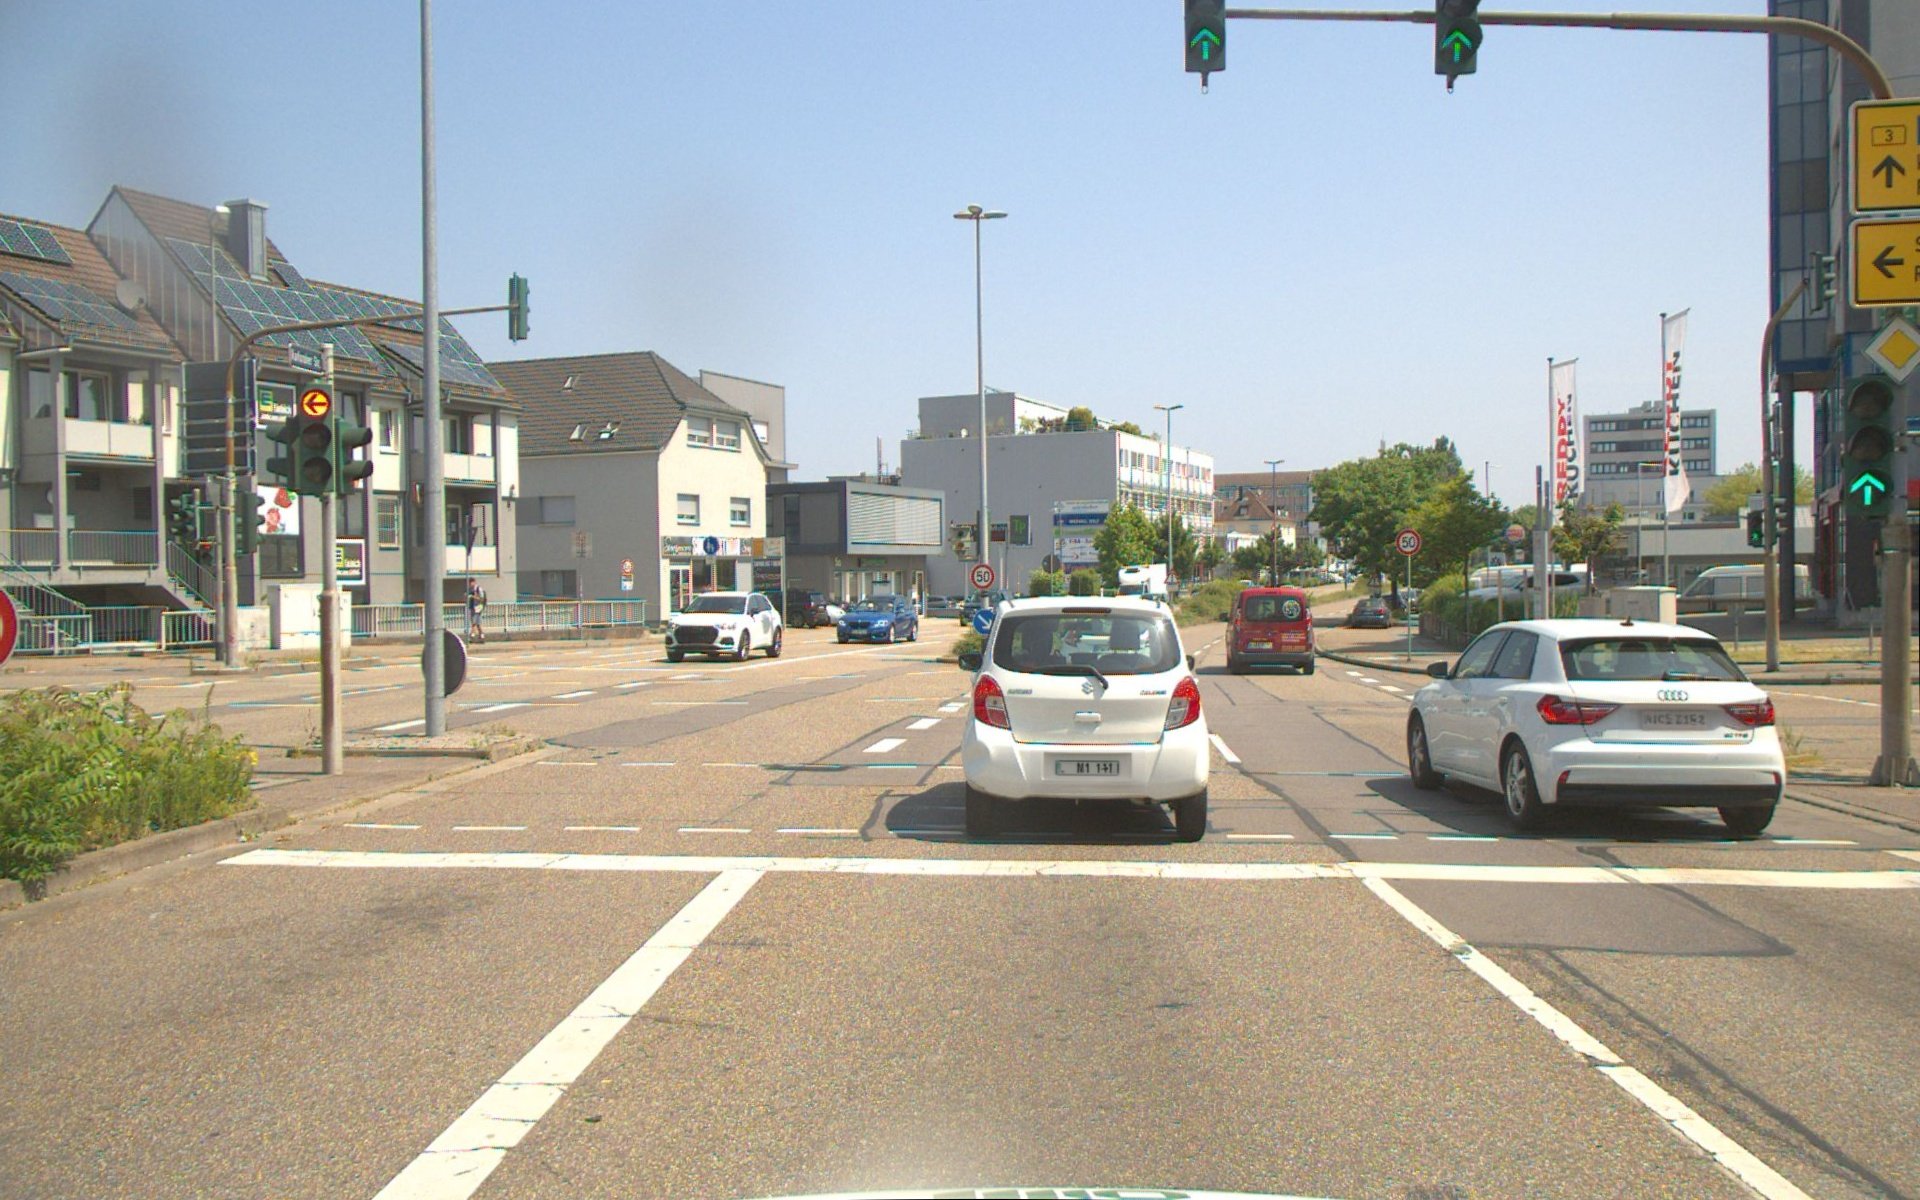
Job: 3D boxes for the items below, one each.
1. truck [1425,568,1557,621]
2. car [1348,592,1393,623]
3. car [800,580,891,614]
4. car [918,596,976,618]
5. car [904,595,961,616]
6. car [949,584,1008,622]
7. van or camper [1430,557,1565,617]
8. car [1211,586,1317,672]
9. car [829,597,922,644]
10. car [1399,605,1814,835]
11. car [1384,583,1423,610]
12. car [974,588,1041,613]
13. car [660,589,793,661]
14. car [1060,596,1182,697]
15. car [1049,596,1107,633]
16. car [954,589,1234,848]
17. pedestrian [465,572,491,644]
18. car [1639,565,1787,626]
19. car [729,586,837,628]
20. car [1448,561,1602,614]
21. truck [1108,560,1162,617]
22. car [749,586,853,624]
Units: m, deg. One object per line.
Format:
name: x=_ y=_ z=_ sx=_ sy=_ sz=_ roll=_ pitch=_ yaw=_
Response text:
truck: x=26.830 y=-0.279 z=83.605 sx=6.118 sy=2.377 sz=2.368 roll=-2 pitch=1 yaw=22
car: x=20.225 y=0.357 z=81.408 sx=1.760 sy=1.430 sz=4.322 roll=1 pitch=1 yaw=19
car: x=-5.594 y=-0.134 z=80.979 sx=3.971 sy=1.548 sz=2.001 roll=-1 pitch=0 yaw=18
car: x=-0.998 y=0.553 z=127.578 sx=3.891 sy=1.493 sz=2.074 roll=-3 pitch=0 yaw=19
car: x=-2.068 y=0.417 z=124.389 sx=3.887 sy=1.493 sz=1.965 roll=-1 pitch=1 yaw=16
car: x=0.906 y=0.121 z=78.257 sx=1.951 sy=1.685 sz=4.598 roll=-1 pitch=1 yaw=11
van or camper: x=28.544 y=-0.684 z=87.813 sx=6.656 sy=2.948 sz=2.276 roll=-1 pitch=1 yaw=21
car: x=6.558 y=0.591 z=36.027 sx=1.757 sy=1.759 sz=3.974 roll=0 pitch=0 yaw=3
car: x=-2.630 y=0.619 z=52.452 sx=1.823 sy=1.390 sz=4.350 roll=1 pitch=0 yaw=13
car: x=4.585 y=0.765 z=12.332 sx=1.633 sy=1.423 sz=3.793 roll=0 pitch=0 yaw=0
car: x=29.314 y=-0.222 z=109.239 sx=1.920 sy=1.556 sz=5.162 roll=-3 pitch=0 yaw=21
car: x=3.063 y=0.039 z=106.924 sx=3.916 sy=1.395 sz=1.669 roll=-3 pitch=1 yaw=24
car: x=-5.520 y=0.553 z=39.676 sx=1.778 sy=1.597 sz=4.560 roll=1 pitch=0 yaw=10
car: x=2.593 y=0.684 z=26.537 sx=1.791 sy=1.475 sz=4.003 roll=0 pitch=0 yaw=6
car: x=4.980 y=0.591 z=69.401 sx=1.823 sy=1.456 sz=4.749 roll=0 pitch=0 yaw=11
car: x=0.820 y=0.722 z=11.599 sx=1.677 sy=1.537 sz=3.247 roll=1 pitch=0 yaw=0
pedestrian: x=-13.775 y=0.224 z=47.259 sx=0.492 sy=2.048 sz=0.743 roll=1 pitch=1 yaw=4
car: x=32.532 y=-0.189 z=71.628 sx=5.767 sy=2.572 sz=2.119 roll=0 pitch=0 yaw=24
car: x=-8.033 y=0.297 z=75.114 sx=4.511 sy=1.655 sz=1.854 roll=3 pitch=1 yaw=21
car: x=19.442 y=-0.409 z=57.050 sx=4.632 sy=1.743 sz=1.998 roll=1 pitch=0 yaw=-5
truck: x=11.300 y=-0.698 z=106.227 sx=2.216 sy=3.477 sz=7.043 roll=0 pitch=0 yaw=16
car: x=-7.517 y=0.235 z=78.087 sx=4.508 sy=1.522 sz=1.754 roll=3 pitch=2 yaw=13
